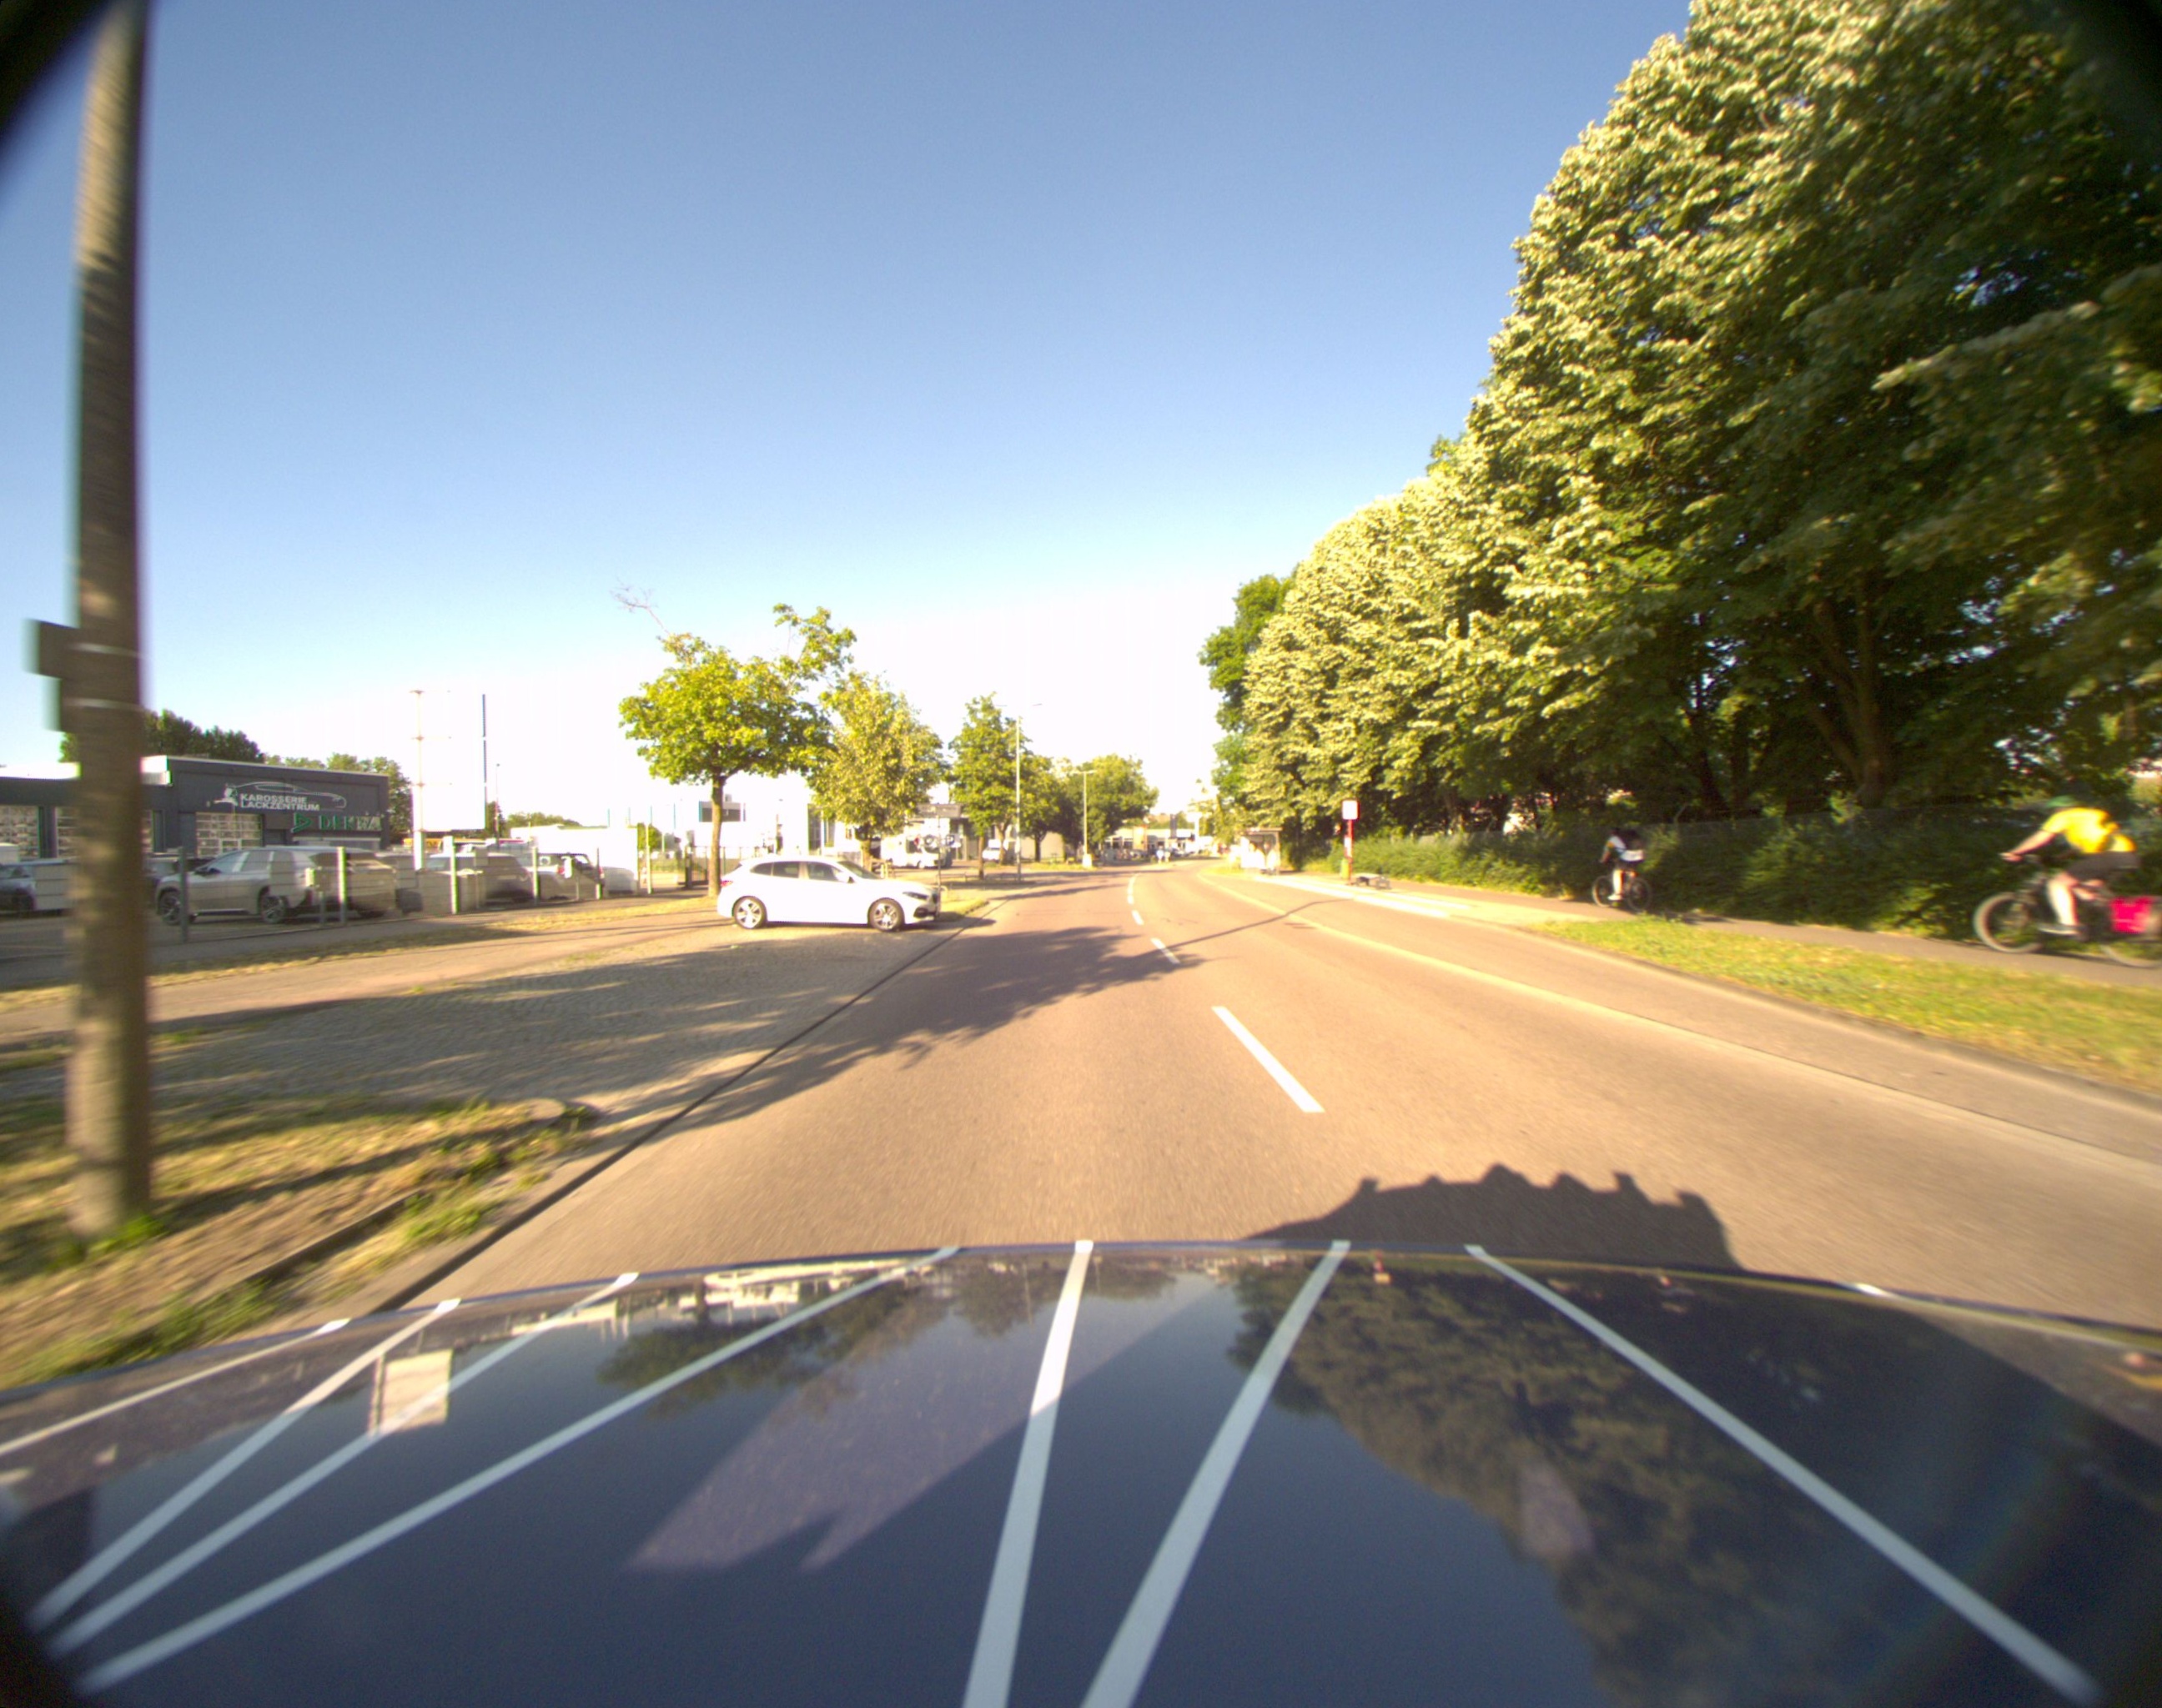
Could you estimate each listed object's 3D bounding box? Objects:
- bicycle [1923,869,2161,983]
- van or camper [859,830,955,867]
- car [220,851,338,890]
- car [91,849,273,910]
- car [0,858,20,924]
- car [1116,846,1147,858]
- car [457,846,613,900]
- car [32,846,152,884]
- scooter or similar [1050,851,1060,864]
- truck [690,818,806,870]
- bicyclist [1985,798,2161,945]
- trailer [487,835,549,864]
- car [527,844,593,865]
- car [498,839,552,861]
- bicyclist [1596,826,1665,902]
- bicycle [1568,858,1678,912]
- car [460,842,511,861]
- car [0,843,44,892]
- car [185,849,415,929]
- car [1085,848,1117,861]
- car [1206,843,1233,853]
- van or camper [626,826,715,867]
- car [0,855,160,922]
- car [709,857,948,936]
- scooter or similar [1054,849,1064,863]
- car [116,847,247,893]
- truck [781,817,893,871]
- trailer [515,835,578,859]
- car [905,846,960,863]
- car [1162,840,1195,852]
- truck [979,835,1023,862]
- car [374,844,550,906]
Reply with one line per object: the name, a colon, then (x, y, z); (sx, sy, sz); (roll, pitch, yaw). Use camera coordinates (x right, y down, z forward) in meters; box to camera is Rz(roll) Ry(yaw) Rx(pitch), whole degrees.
bicycle: (10.882, 0.722, 8.368); (0.767, 1.033, 2.217); (0, 1, 1)
van or camper: (-14.431, -0.455, 62.893); (7.988, 2.883, 2.948); (0, 1, 32)
car: (-33.948, 0.667, 32.170); (3.991, 1.569, 2.003); (0, 1, 20)
car: (-26.880, 0.708, 22.766); (3.991, 1.570, 2.163); (0, 3, 20)
car: (-28.263, 0.948, 18.327); (3.991, 1.570, 2.002); (0, 3, 20)
car: (8.678, -0.270, 130.757); (4.833, 2.002, 2.305); (0, 1, 40)
car: (-16.935, 0.542, 23.599); (3.991, 1.569, 2.003); (0, 1, 20)
car: (-40.258, 0.439, 30.927); (3.991, 1.465, 1.851); (0, -1, 20)
scooter or similar: (-2.437, 0.337, 72.260); (0.547, 1.190, 1.483); (0, 1, 15)
truck: (-25.174, -0.752, 57.211); (10.090, 3.623, 3.302); (0, 1, 36)
bicyclist: (10.886, 0.173, 8.356); (0.732, 1.521, 0.951); (0, 1, 1)
trailer: (-60.245, -0.480, 81.358); (1.994, 3.051, 4.867); (0, 1, 32)
car: (-52.228, 0.004, 76.233); (1.994, 2.002, 5.061); (0, 1, 31)
car: (-57.782, -0.437, 78.996); (2.083, 2.264, 4.008); (0, 1, 32)
bicyclist: (11.377, 0.201, 15.758); (0.732, 1.521, 0.951); (0, 1, 1)
bicycle: (11.356, 0.616, 16.027); (0.767, 1.033, 2.217); (-1, 1, 1)
car: (-65.796, -0.325, 83.977); (1.994, 2.002, 4.008); (0, 1, 32)
car: (-39.787, 0.469, 27.119); (3.992, 1.731, 2.002); (0, 1, 17)
car: (-17.075, 0.685, 16.644); (3.991, 1.569, 2.003); (0, 1, 20)
car: (3.264, 0.085, 126.002); (4.833, 2.002, 2.305); (0, 1, 39)
car: (26.149, -1.124, 143.810); (2.304, 2.002, 4.834); (-1, 1, -34)
van or camper: (-34.911, -0.650, 64.531); (8.116, 3.310, 2.419); (0, 1, 28)
car: (-27.673, 0.870, 20.667); (3.991, 1.570, 2.002); (0, 3, 20)
car: (-5.020, 0.830, 15.612); (4.209, 1.435, 2.088); (1, 1, -1)
scooter or similar: (-2.131, 0.145, 73.829); (0.547, 1.328, 1.483); (0, 1, 15)
car: (-34.610, 0.575, 29.258); (3.991, 1.570, 1.906); (0, 3, 20)
truck: (-16.880, -0.663, 52.255); (8.229, 3.502, 3.121); (0, 1, 37)
trailer: (-55.285, -0.742, 78.677); (1.994, 2.422, 4.867); (0, 1, 32)
car: (-13.333, 0.037, 68.466); (4.813, 1.483, 1.998); (0, 1, -8)
car: (16.860, -1.324, 131.811); (5.275, 2.002, 2.410); (0, 1, 40)
truck: (-8.464, -0.569, 81.237); (2.541, 2.704, 5.979); (0, 1, 18)
car: (-17.202, 0.531, 21.154); (3.991, 1.569, 2.003); (0, 1, 20)
